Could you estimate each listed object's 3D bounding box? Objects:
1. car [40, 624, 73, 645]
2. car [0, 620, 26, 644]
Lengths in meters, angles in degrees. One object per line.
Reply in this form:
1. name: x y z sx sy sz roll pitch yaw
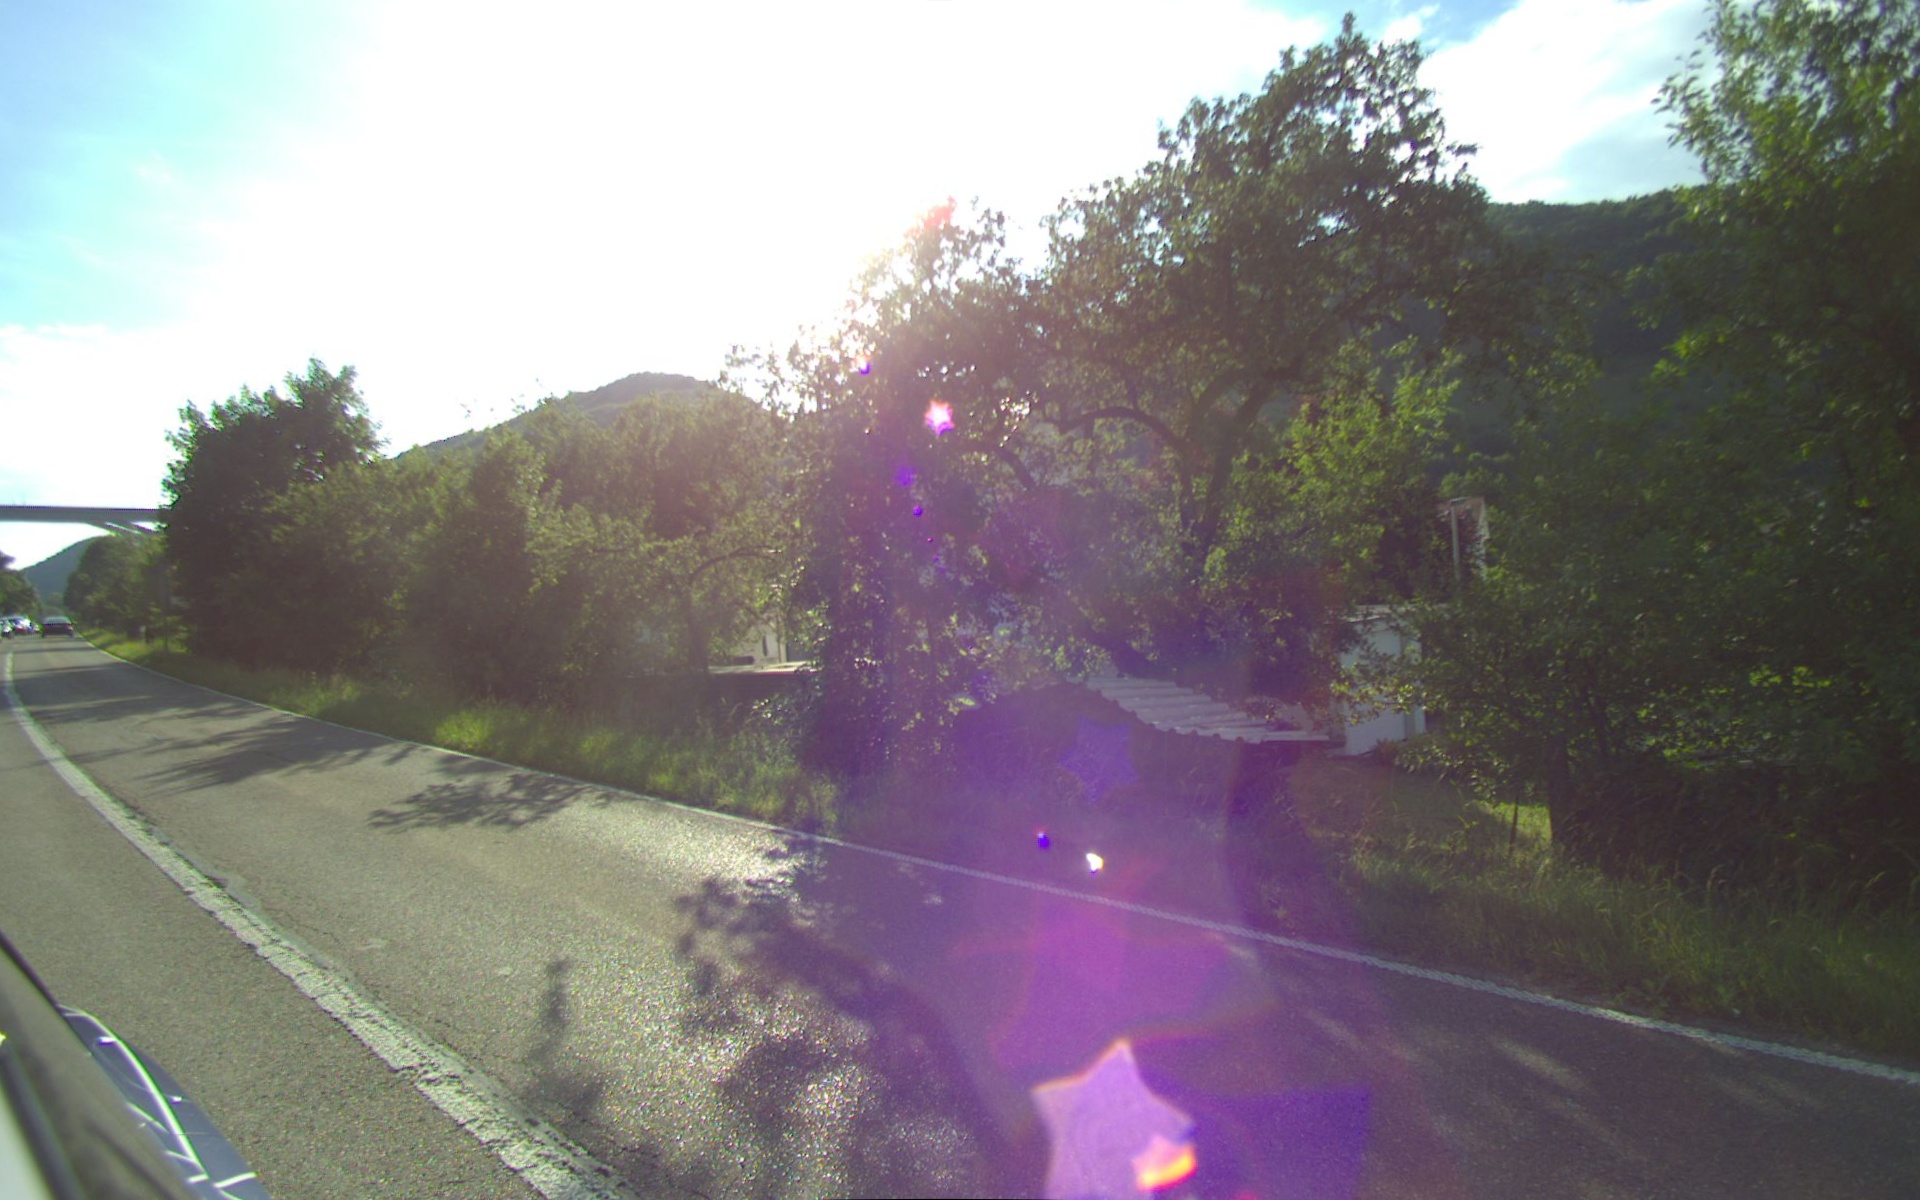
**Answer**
1. car: -62.033 2.341 69.470 1.575 1.364 4.207 -1 0 -44
2. car: -84.827 2.838 90.412 1.970 2.029 4.003 -1 0 -44
